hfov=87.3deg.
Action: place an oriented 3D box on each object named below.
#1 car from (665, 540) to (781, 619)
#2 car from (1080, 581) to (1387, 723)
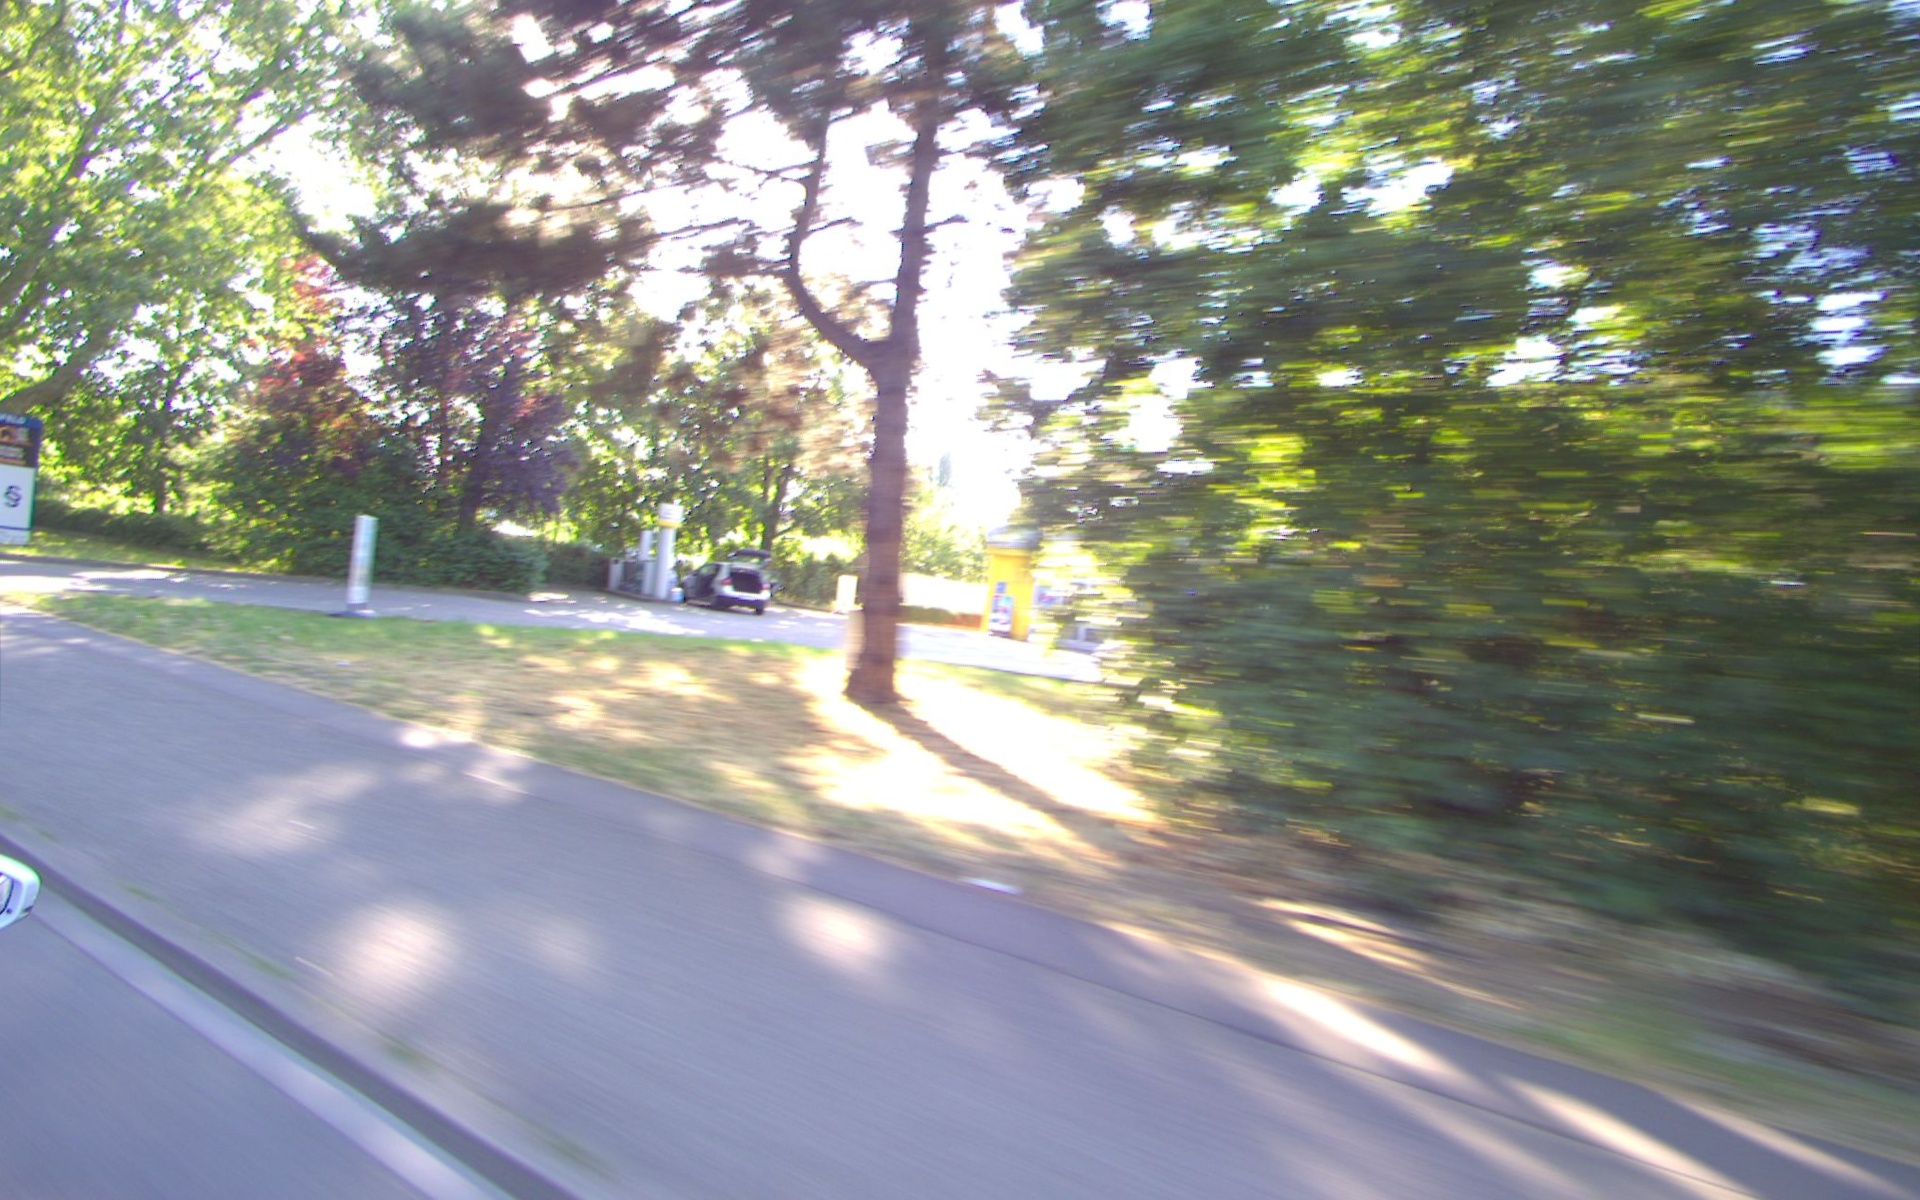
[{"bbox_3d":[-7.542,-0.684,31.797,1.841,1.962,3.954,6,2,-39],"label":"car"},{"bbox_3d":[4.469,0.799,16.597,4.400,1.667,1.927,7,0,31],"label":"car"}]
